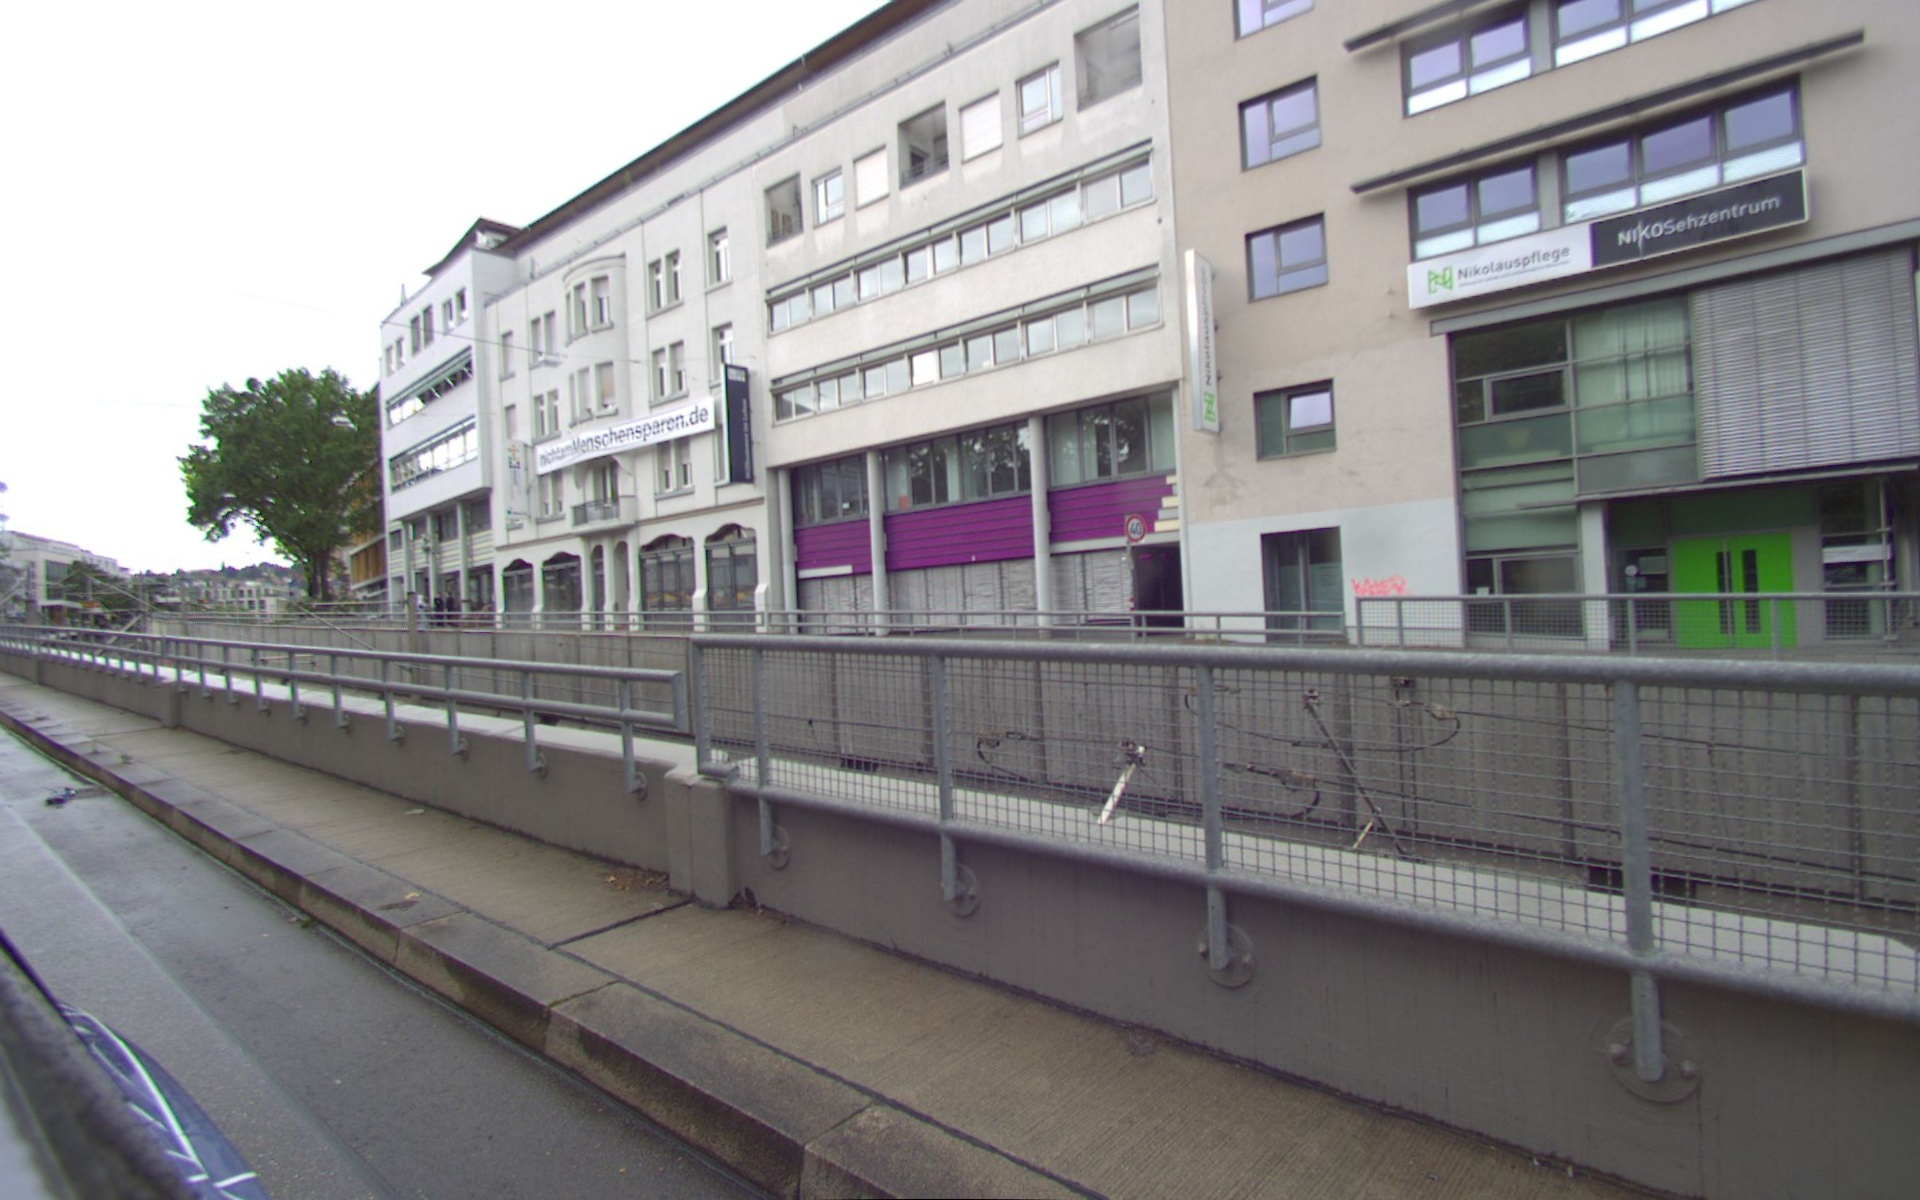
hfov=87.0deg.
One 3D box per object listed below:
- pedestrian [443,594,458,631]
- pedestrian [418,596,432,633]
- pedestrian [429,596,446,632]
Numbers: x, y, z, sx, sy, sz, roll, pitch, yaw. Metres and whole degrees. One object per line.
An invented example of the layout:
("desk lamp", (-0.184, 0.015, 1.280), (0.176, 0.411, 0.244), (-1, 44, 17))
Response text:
("pedestrian", (-25.417, 0.621, 50.477), (0.547, 1.816, 0.463), (-2, 1, 44))
("pedestrian", (-26.721, 0.717, 50.527), (0.463, 1.816, 0.548), (-3, 1, -42))
("pedestrian", (-26.431, 0.720, 51.226), (0.469, 1.816, 0.541), (-2, 1, 33))
